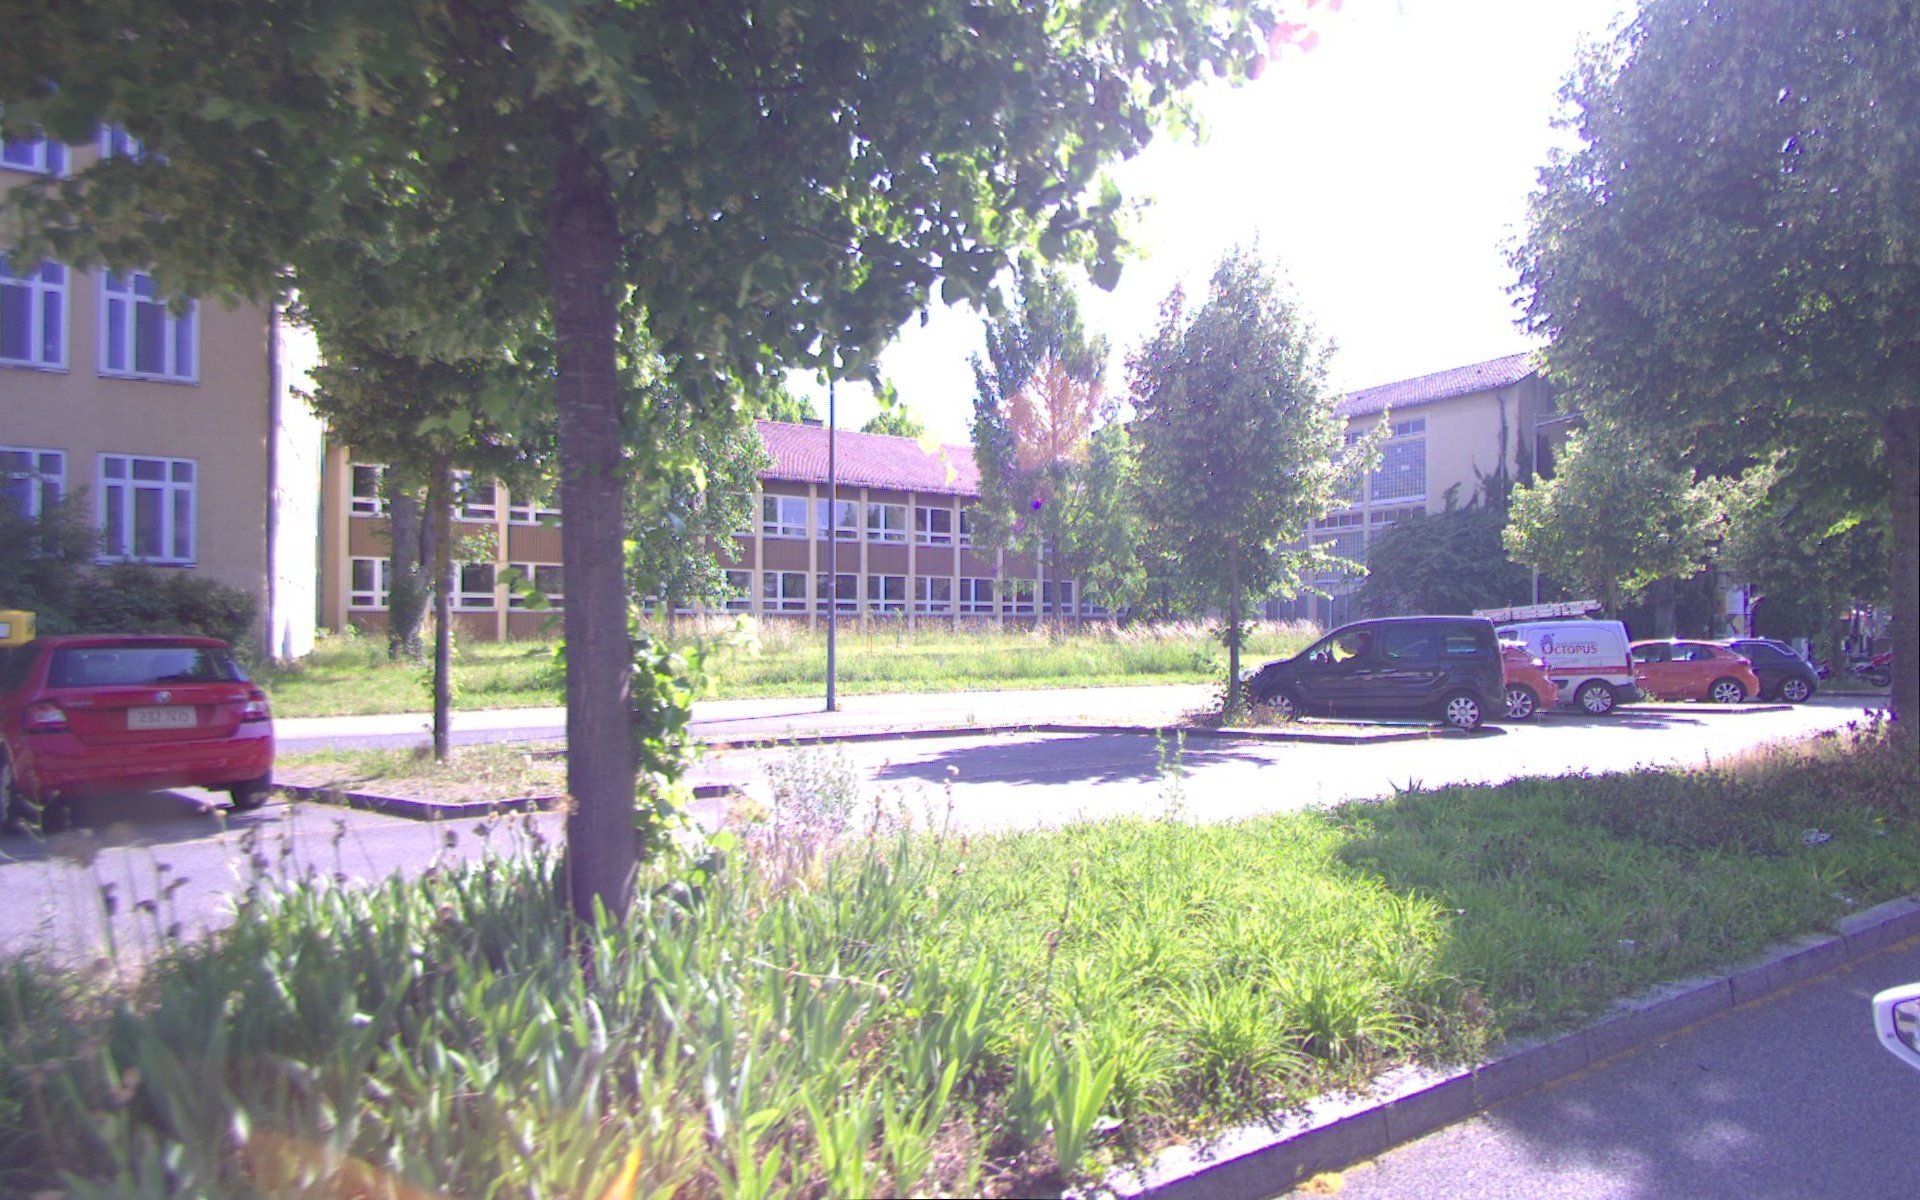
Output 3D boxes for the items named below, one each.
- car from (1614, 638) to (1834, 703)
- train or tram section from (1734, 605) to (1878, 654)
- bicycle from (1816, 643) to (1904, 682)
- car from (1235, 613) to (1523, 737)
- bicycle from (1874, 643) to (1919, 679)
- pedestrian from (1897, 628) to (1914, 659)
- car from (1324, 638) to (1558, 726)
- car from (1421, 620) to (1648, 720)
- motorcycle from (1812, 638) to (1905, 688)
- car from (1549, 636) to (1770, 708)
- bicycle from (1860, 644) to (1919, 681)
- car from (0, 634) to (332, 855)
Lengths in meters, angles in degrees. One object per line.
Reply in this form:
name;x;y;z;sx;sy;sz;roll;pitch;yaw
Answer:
car;17.931;1.644;23.794;3.700;1.442;1.856;-1;-3;20
train or tram section;62.007;2.154;73.834;3.084;3.376;7.517;1;-2;-31
bicycle;26.920;1.857;30.079;0.684;1.106;1.838;1;-1;-28
car;6.792;1.178;16.585;4.108;1.840;2.003;-1;-2;23
bicycle;30.993;1.970;32.590;0.684;1.137;1.838;1;-1;-28
pedestrian;53.911;2.498;57.299;0.651;1.749;0.749;-1;-2;42
car;8.818;1.442;18.519;3.707;1.446;1.853;-2;-2;29
car;11.137;1.298;19.692;3.706;1.795;1.816;-1;-2;29
motorcycle;24.812;1.716;27.768;0.686;1.301;1.832;1;-1;-36
car;15.393;1.547;22.366;3.770;1.442;1.714;0;-2;25
bicycle;29.907;1.984;31.902;0.684;1.121;1.838;1;-1;-28
car;-7.389;1.090;8.887;3.940;1.485;1.991;-3;-3;39
